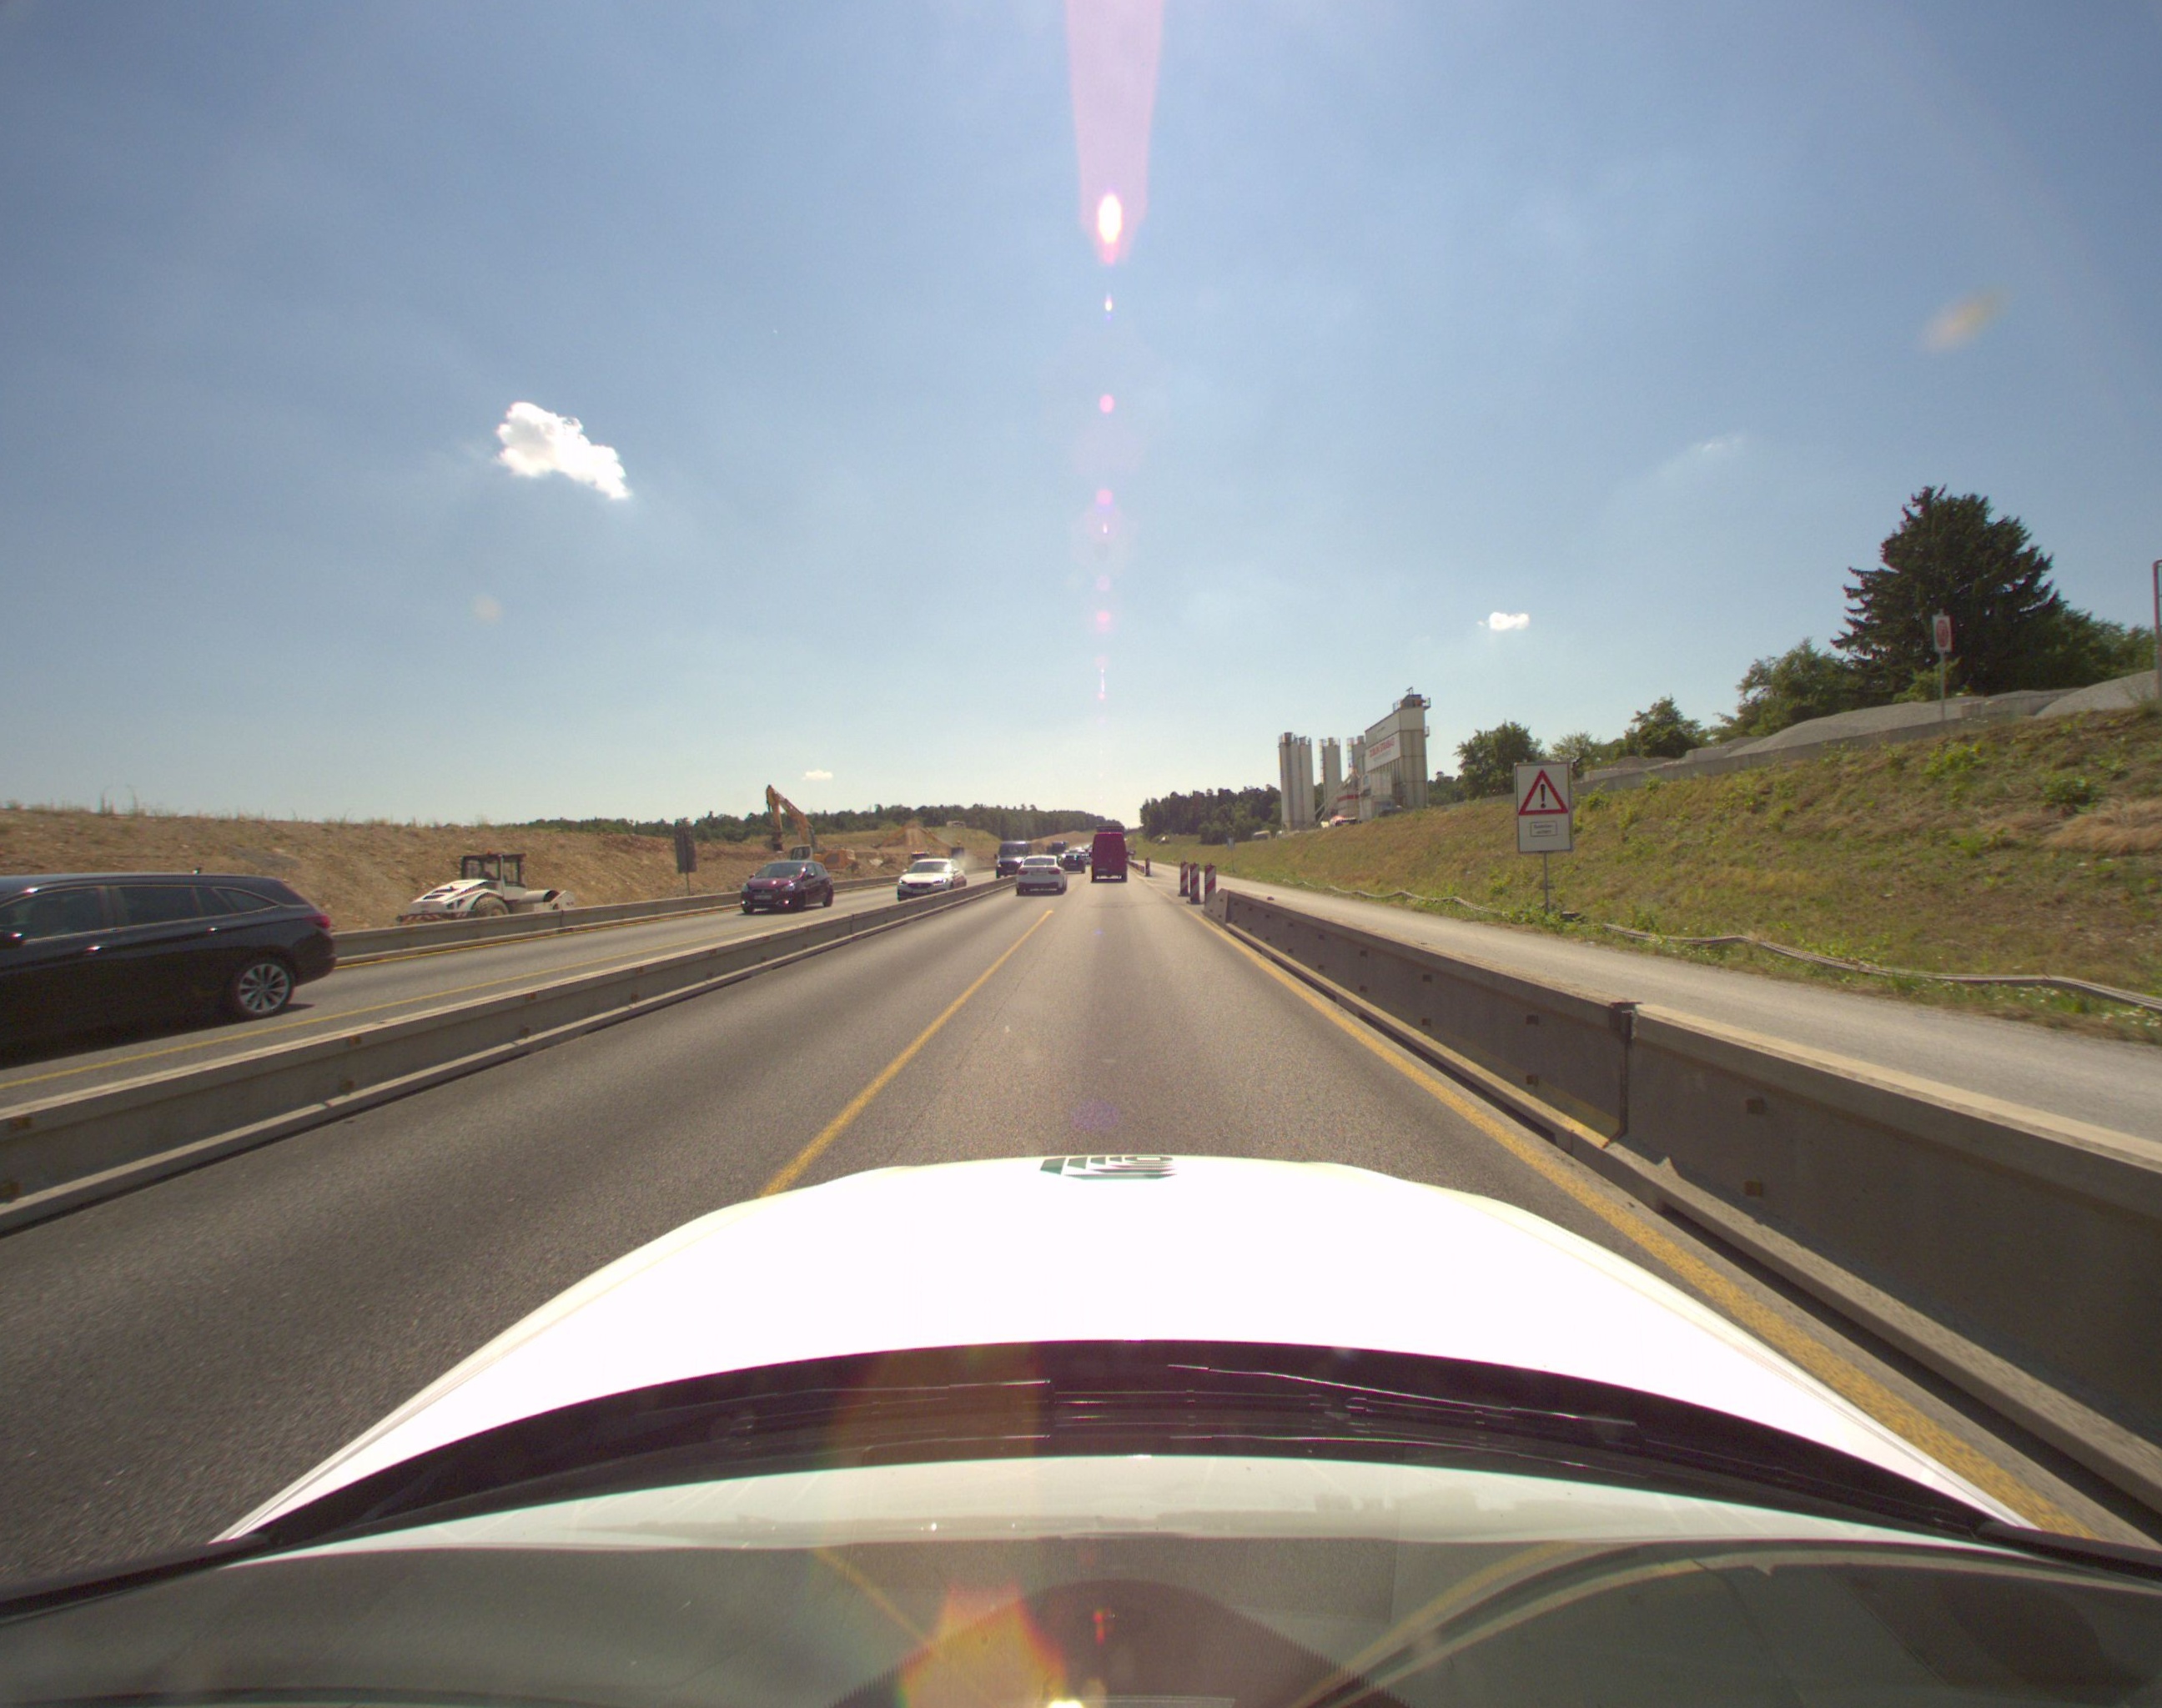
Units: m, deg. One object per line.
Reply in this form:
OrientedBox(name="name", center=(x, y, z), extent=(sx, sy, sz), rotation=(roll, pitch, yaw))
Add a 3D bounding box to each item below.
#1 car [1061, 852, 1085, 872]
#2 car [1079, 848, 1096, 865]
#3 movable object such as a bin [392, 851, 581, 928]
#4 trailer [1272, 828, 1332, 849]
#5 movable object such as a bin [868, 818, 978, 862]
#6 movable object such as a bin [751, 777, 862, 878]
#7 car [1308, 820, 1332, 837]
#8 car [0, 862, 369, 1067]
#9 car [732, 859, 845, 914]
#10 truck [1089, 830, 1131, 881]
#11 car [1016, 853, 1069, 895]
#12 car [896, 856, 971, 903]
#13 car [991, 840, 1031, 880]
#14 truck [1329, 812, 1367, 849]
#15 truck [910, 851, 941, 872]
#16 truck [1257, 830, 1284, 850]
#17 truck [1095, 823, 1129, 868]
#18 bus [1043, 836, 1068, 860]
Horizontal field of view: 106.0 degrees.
OrientedBox(name="car", center=(-0.632, 0.614, 64.185), extent=(1.789, 1.534, 3.930), rotation=(-2, 0, 0))
OrientedBox(name="car", center=(0.870, 0.293, 103.001), extent=(1.986, 2.013, 4.003), rotation=(-2, 0, 2))
OrientedBox(name="movable object such as a bin", center=(-21.360, 1.140, 29.784), extent=(1.695, 2.461, 6.748), rotation=(-2, 0, 2))
OrientedBox(name="trailer", center=(36.893, -2.589, 135.999), extent=(9.005, 3.229, 3.316), rotation=(-2, 0, -13))
OrientedBox(name="movable object such as a bin", center=(-28.062, -2.412, 145.441), extent=(18.651, 7.231, 3.615), rotation=(-2, 0, 0))
OrientedBox(name="movable object such as a bin", center=(-22.217, -2.106, 66.258), extent=(7.605, 7.713, 3.449), rotation=(-2, 0, 3))
OrientedBox(name="car", center=(31.731, -3.379, 108.189), extent=(1.986, 2.013, 4.430), rotation=(-2, 0, 2))
OrientedBox(name="car", center=(-9.037, 0.873, 6.883), extent=(1.853, 1.501, 4.578), rotation=(-2, 0, 2))
OrientedBox(name="car", center=(-8.615, 0.902, 24.359), extent=(1.646, 1.442, 4.229), rotation=(-2, 0, 2))
OrientedBox(name="truck", center=(1.704, 0.077, 46.509), extent=(2.103, 2.633, 6.489), rotation=(-2, 0, 3))
OrientedBox(name="car", center=(-1.474, 0.753, 32.873), extent=(1.788, 1.534, 5.074), rotation=(-1, 0, 1))
OrientedBox(name="car", center=(-5.053, 0.825, 28.535), extent=(1.672, 1.442, 4.672), rotation=(-2, 0, 1))
OrientedBox(name="car", center=(-4.596, 0.366, 54.400), extent=(1.948, 2.468, 5.360), rotation=(-2, 0, 2))
OrientedBox(name="truck", center=(32.725, -2.788, 100.161), extent=(3.412, 4.296, 9.961), rotation=(-2, 0, 12))
OrientedBox(name="truck", center=(-20.921, 0.992, 110.071), extent=(2.307, 2.617, 8.415), rotation=(-2, 0, 2))
OrientedBox(name="truck", center=(31.417, -2.308, 134.861), extent=(2.869, 3.113, 6.048), rotation=(-2, 0, 26))
OrientedBox(name="truck", center=(3.097, -0.792, 79.448), extent=(3.003, 4.153, 8.278), rotation=(-2, 0, 3))
OrientedBox(name="bus", center=(-5.017, -1.176, 162.874), extent=(3.929, 4.415, 17.204), rotation=(-2, 0, 1))
